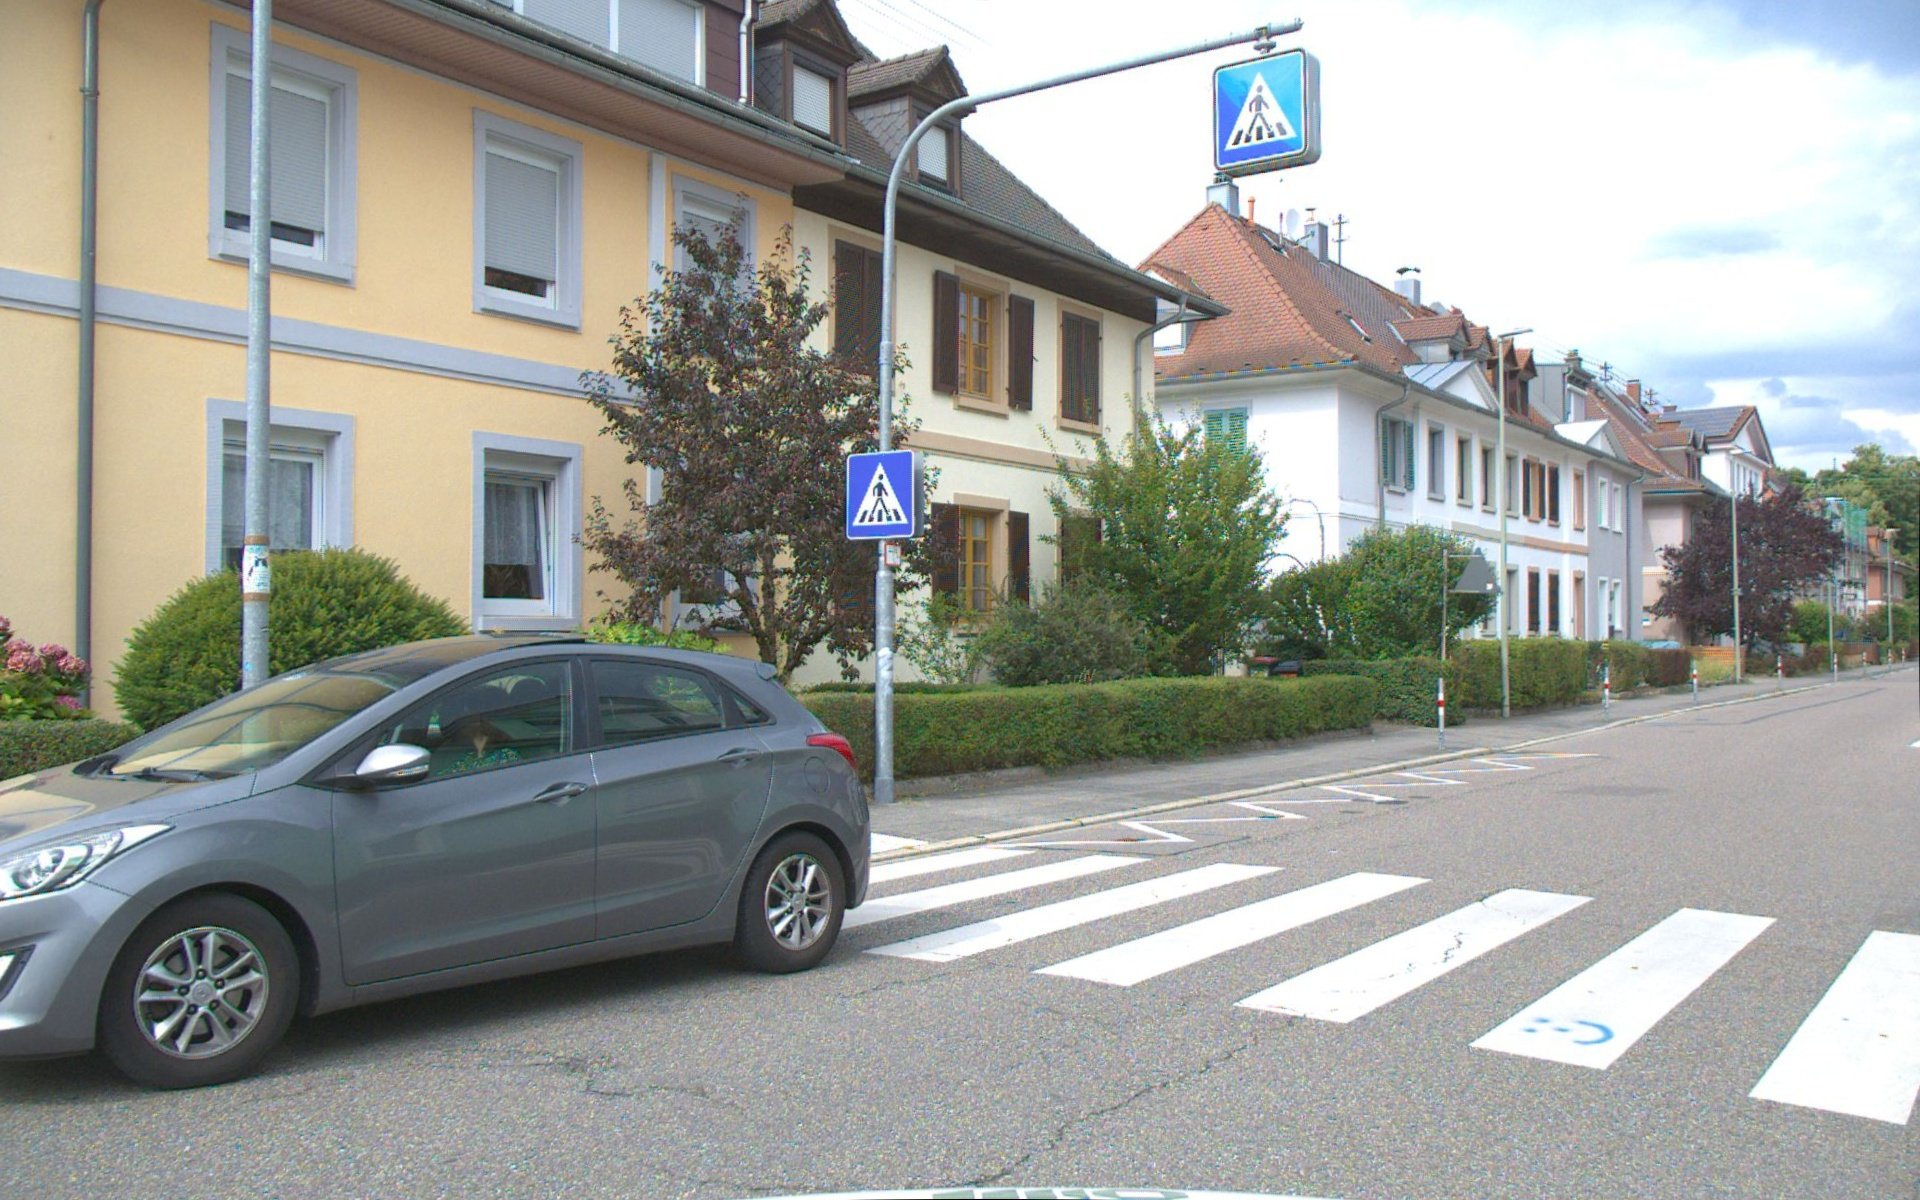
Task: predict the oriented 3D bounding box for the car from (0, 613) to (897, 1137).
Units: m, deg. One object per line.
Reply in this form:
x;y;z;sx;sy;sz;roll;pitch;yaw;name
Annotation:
-2.266;0.834;6.791;1.820;1.507;4.020;-1;-2;40;car
